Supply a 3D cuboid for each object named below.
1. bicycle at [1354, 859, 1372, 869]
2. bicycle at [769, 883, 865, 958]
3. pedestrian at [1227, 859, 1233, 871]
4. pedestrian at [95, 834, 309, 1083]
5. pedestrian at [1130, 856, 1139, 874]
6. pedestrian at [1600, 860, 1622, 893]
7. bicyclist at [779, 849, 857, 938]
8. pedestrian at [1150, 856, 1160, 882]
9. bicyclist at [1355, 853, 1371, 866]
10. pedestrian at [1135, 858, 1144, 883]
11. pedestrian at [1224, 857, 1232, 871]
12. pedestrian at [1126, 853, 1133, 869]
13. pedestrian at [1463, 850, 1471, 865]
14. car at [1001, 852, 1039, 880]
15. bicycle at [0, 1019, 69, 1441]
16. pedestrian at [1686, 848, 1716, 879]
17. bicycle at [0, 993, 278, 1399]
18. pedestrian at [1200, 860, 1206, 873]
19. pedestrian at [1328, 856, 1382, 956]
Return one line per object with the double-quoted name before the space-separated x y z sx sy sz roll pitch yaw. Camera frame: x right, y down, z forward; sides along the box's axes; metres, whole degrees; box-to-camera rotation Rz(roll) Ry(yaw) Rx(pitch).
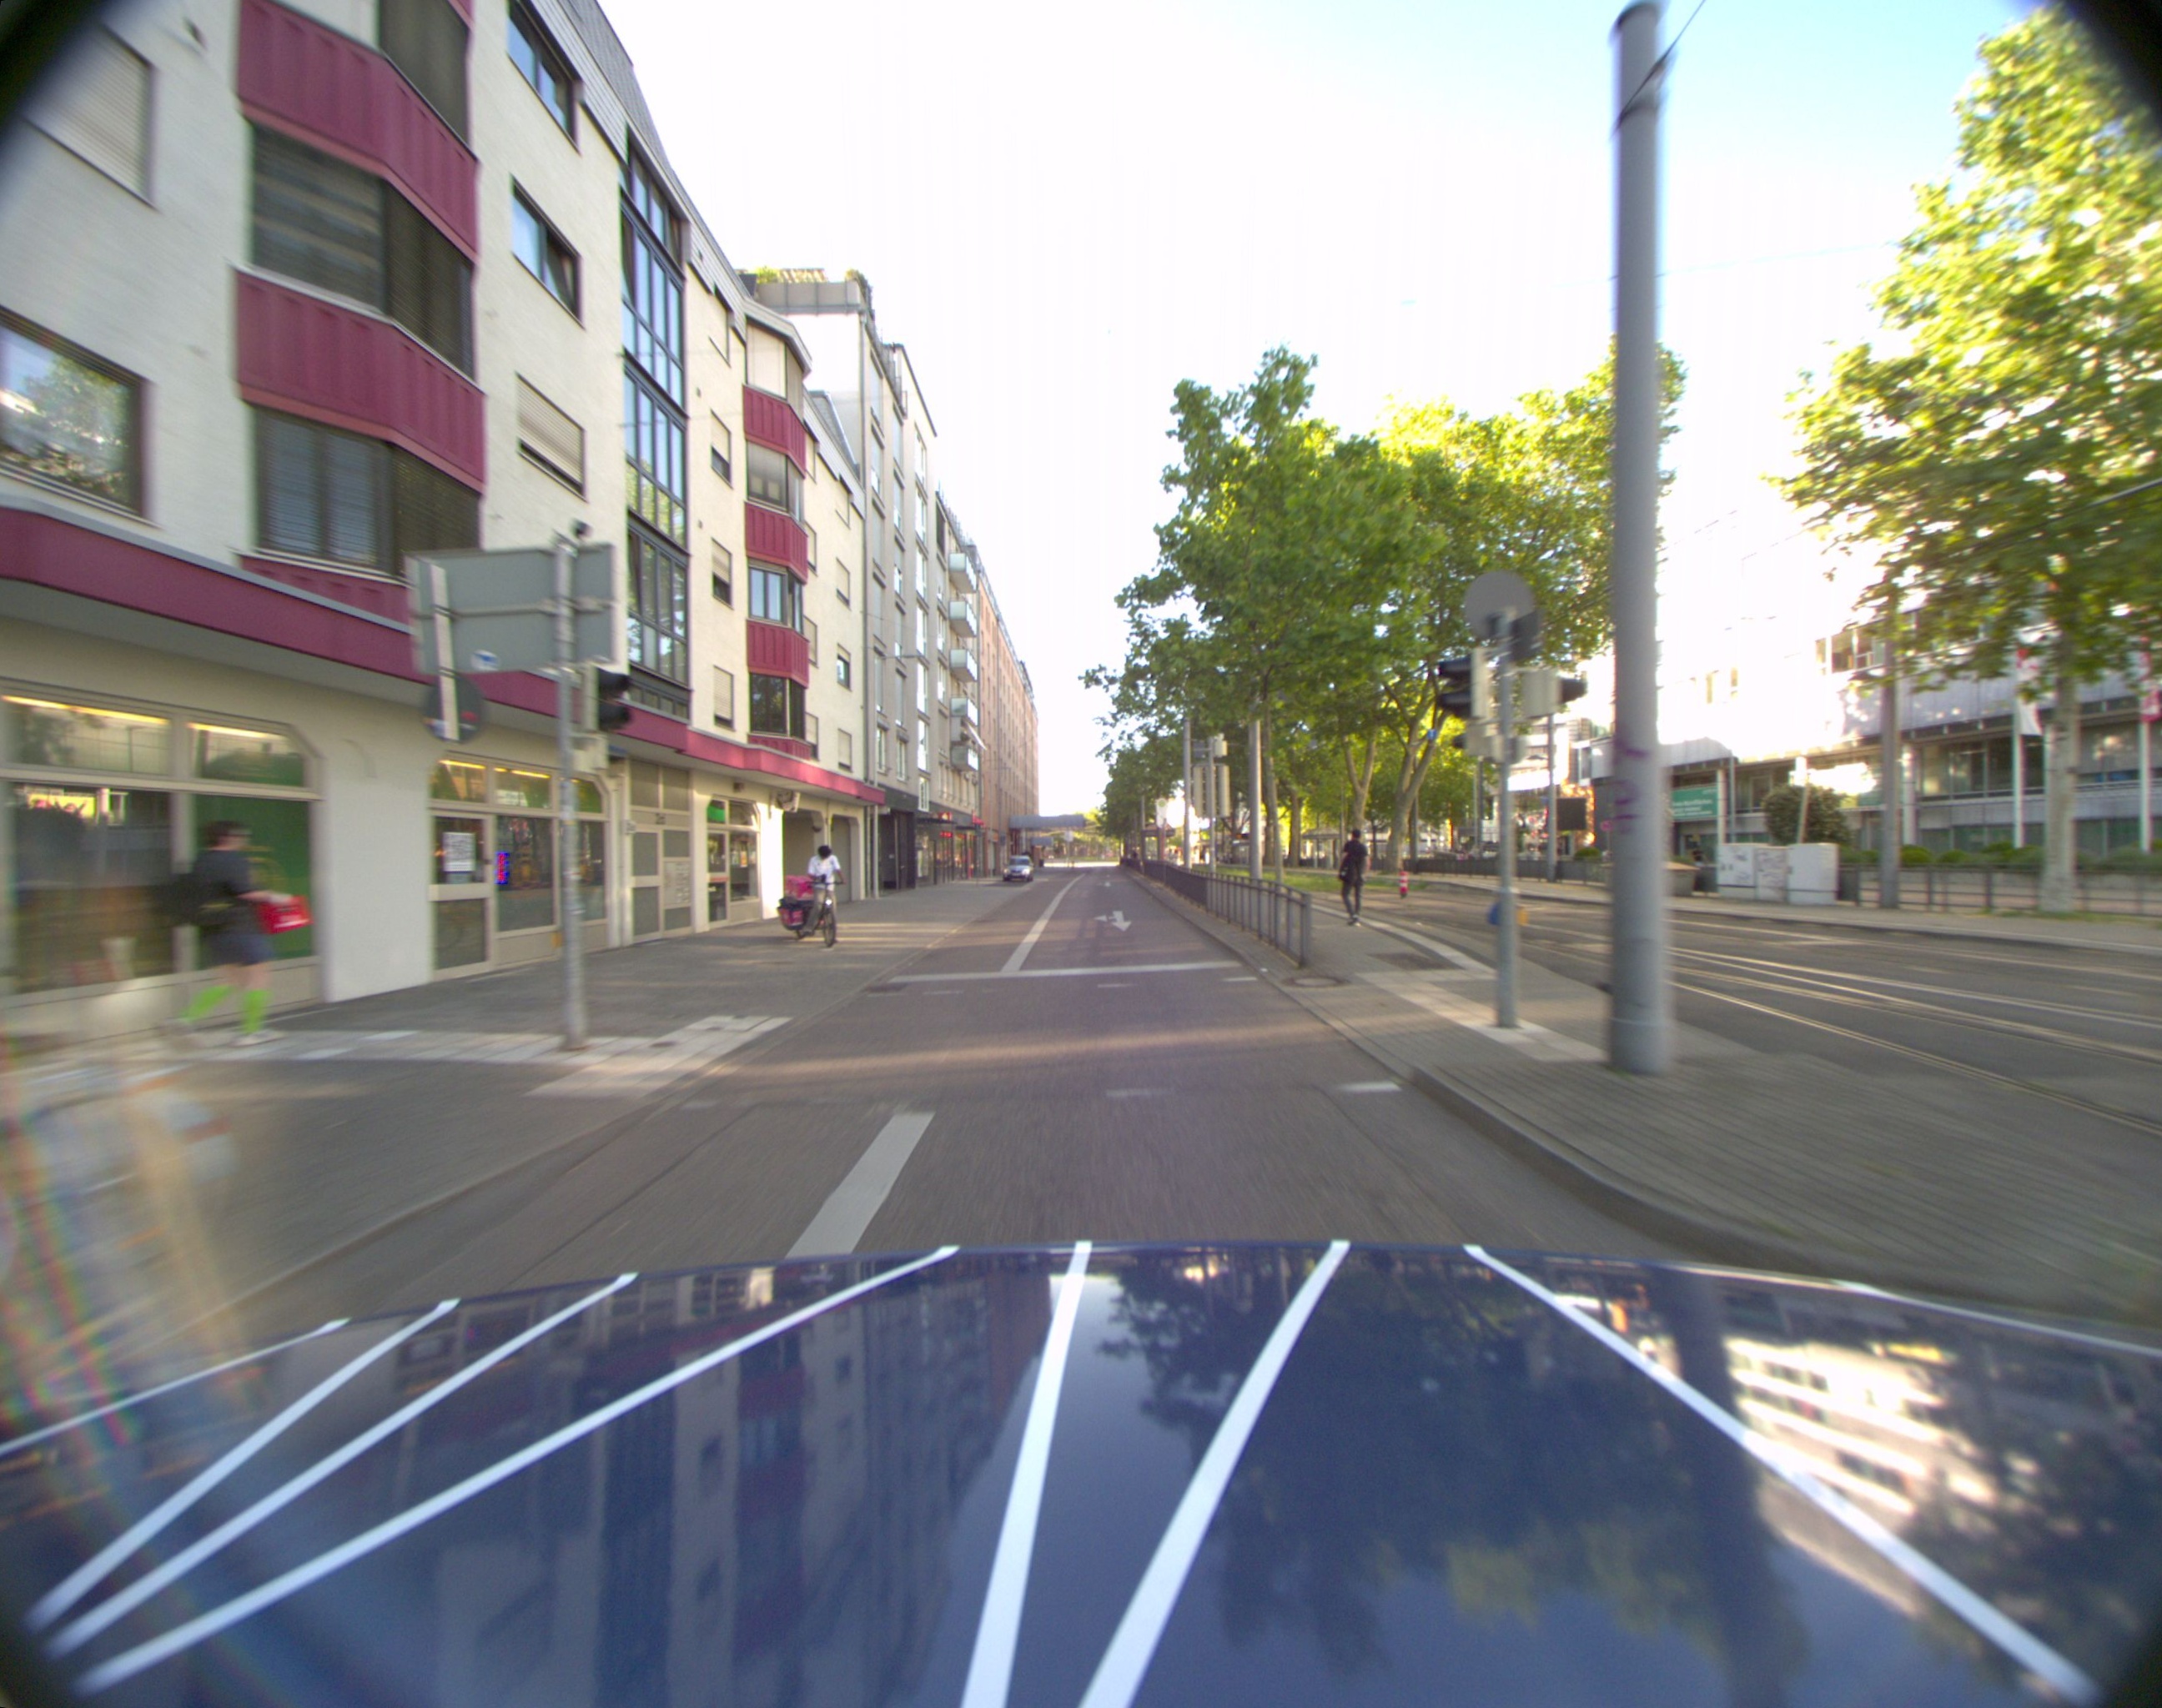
"bicycle" 27.956 1.005 75.260 0.802 0.991 2.586 -2 -1 1
"bicycle" -4.927 1.158 14.048 0.965 1.176 2.591 -1 0 -36
"pedestrian" 17.726 1.315 90.395 0.554 1.488 0.550 -1 0 -10
"pedestrian" -6.943 0.778 6.051 0.724 1.847 0.801 -1 0 1
"pedestrian" 5.530 1.131 78.317 0.708 1.791 0.826 -1 0 -5
"pedestrian" 31.726 1.338 45.493 0.607 1.964 0.834 -2 0 -1
"bicyclist" -4.827 0.688 13.909 1.062 1.531 1.076 -1 0 -36
"pedestrian" 5.378 1.092 55.590 0.647 1.860 0.753 -1 0 2
"bicyclist" 27.938 0.588 75.254 1.006 1.242 1.374 -2 0 1
"pedestrian" 4.551 1.284 59.090 0.647 1.875 0.661 -1 0 2
"pedestrian" 17.956 1.242 92.747 0.669 1.632 0.669 -1 1 -10
"pedestrian" 5.378 0.785 84.355 0.742 1.680 0.645 -3 0 0
"pedestrian" 41.809 0.348 82.369 0.579 1.595 0.580 -1 0 7
"car" -3.740 0.719 47.518 1.837 1.613 4.285 2 0 2
"bicycle" -4.123 1.120 2.002 1.982 1.192 0.591 -1 0 -3
"pedestrian" 31.954 0.496 39.162 0.908 1.583 0.767 -1 0 1
"bicycle" -4.093 1.133 2.633 1.945 1.163 0.572 -1 0 -2
"pedestrian" 16.964 1.766 105.978 0.656 1.744 0.676 -1 0 -7
"pedestrian" 4.919 0.917 13.674 0.735 1.736 0.712 -1 0 6
